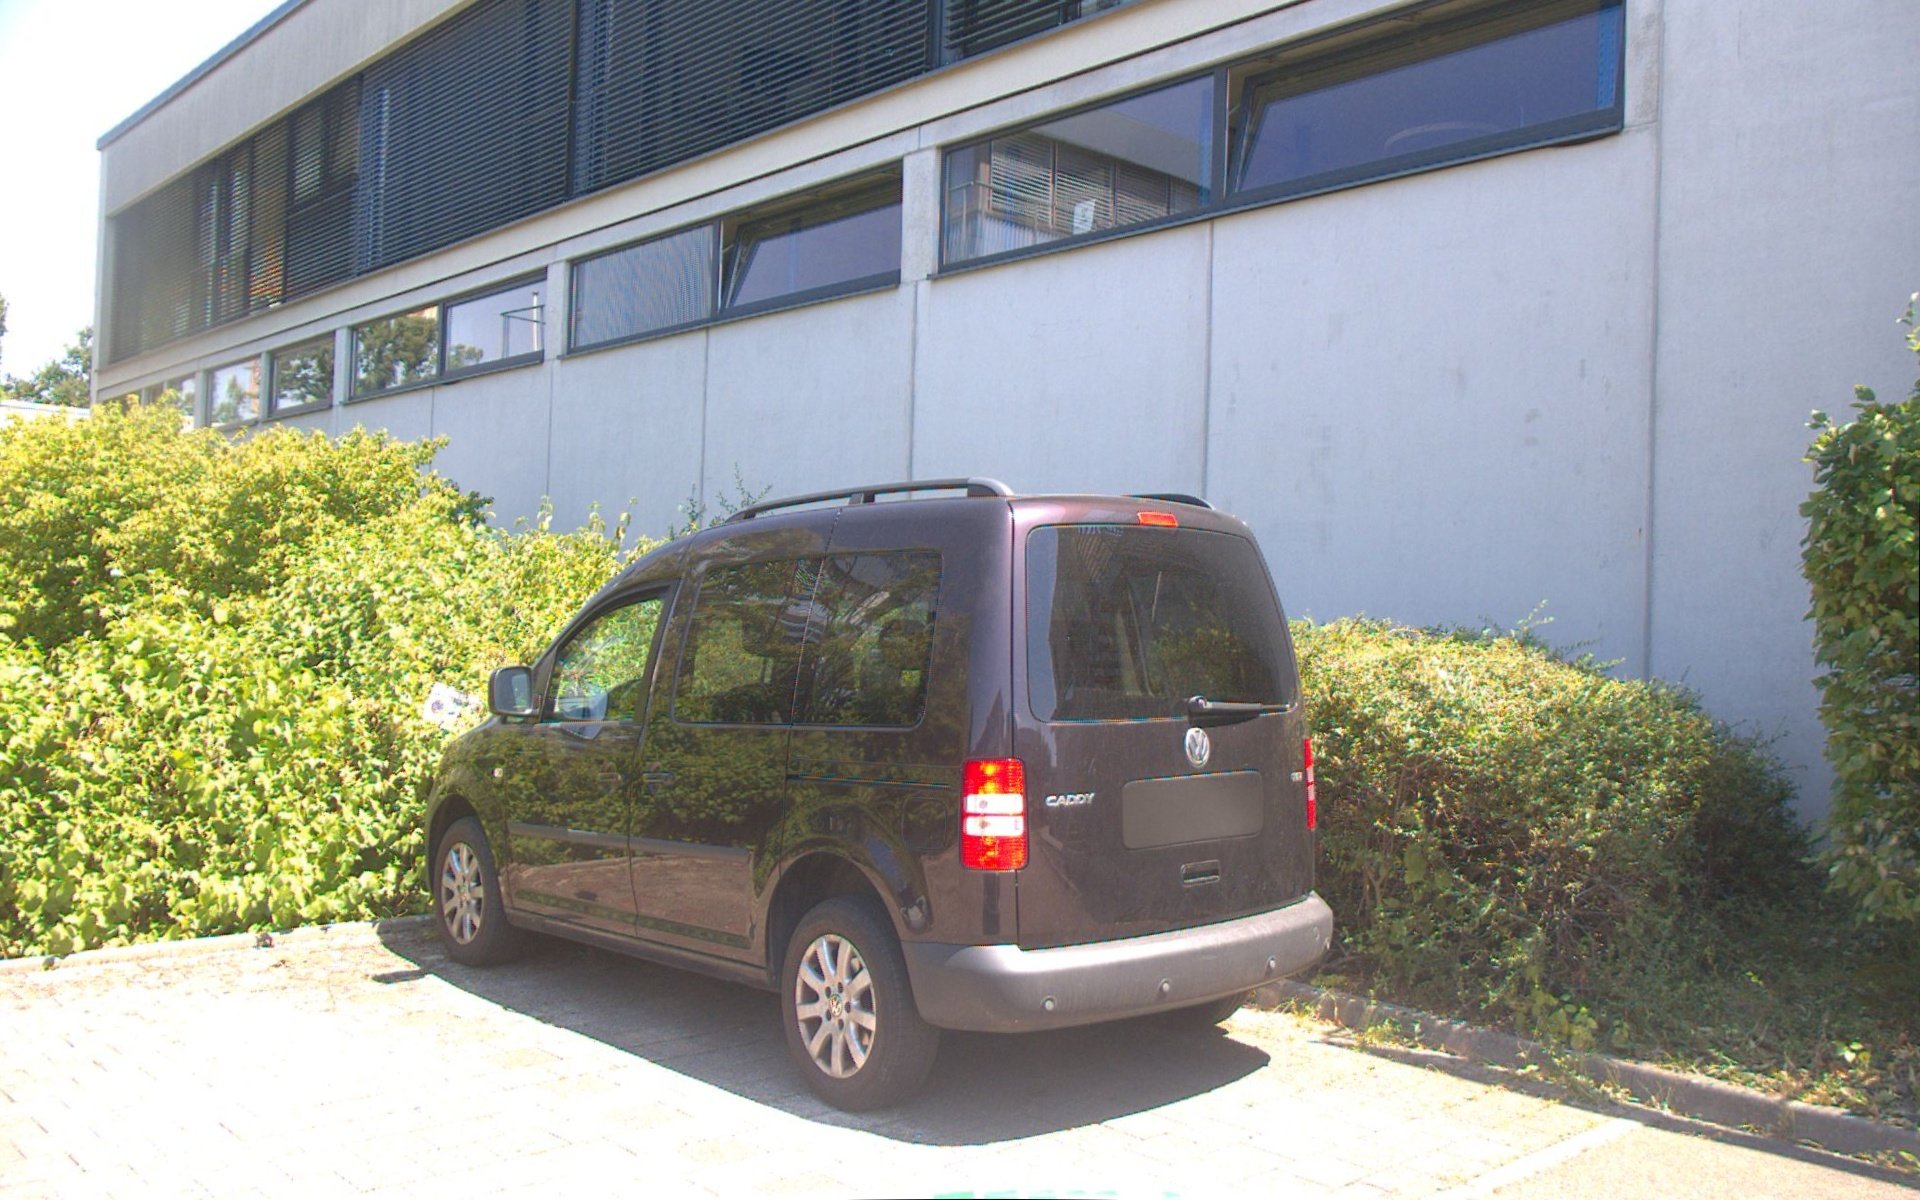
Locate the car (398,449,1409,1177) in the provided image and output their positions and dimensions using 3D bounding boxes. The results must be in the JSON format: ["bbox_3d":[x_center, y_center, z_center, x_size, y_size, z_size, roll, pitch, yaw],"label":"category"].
[{"bbox_3d":[-0.475,0.554,6.311,1.734,1.869,3.938,1,-1,-42],"label":"car"}]
